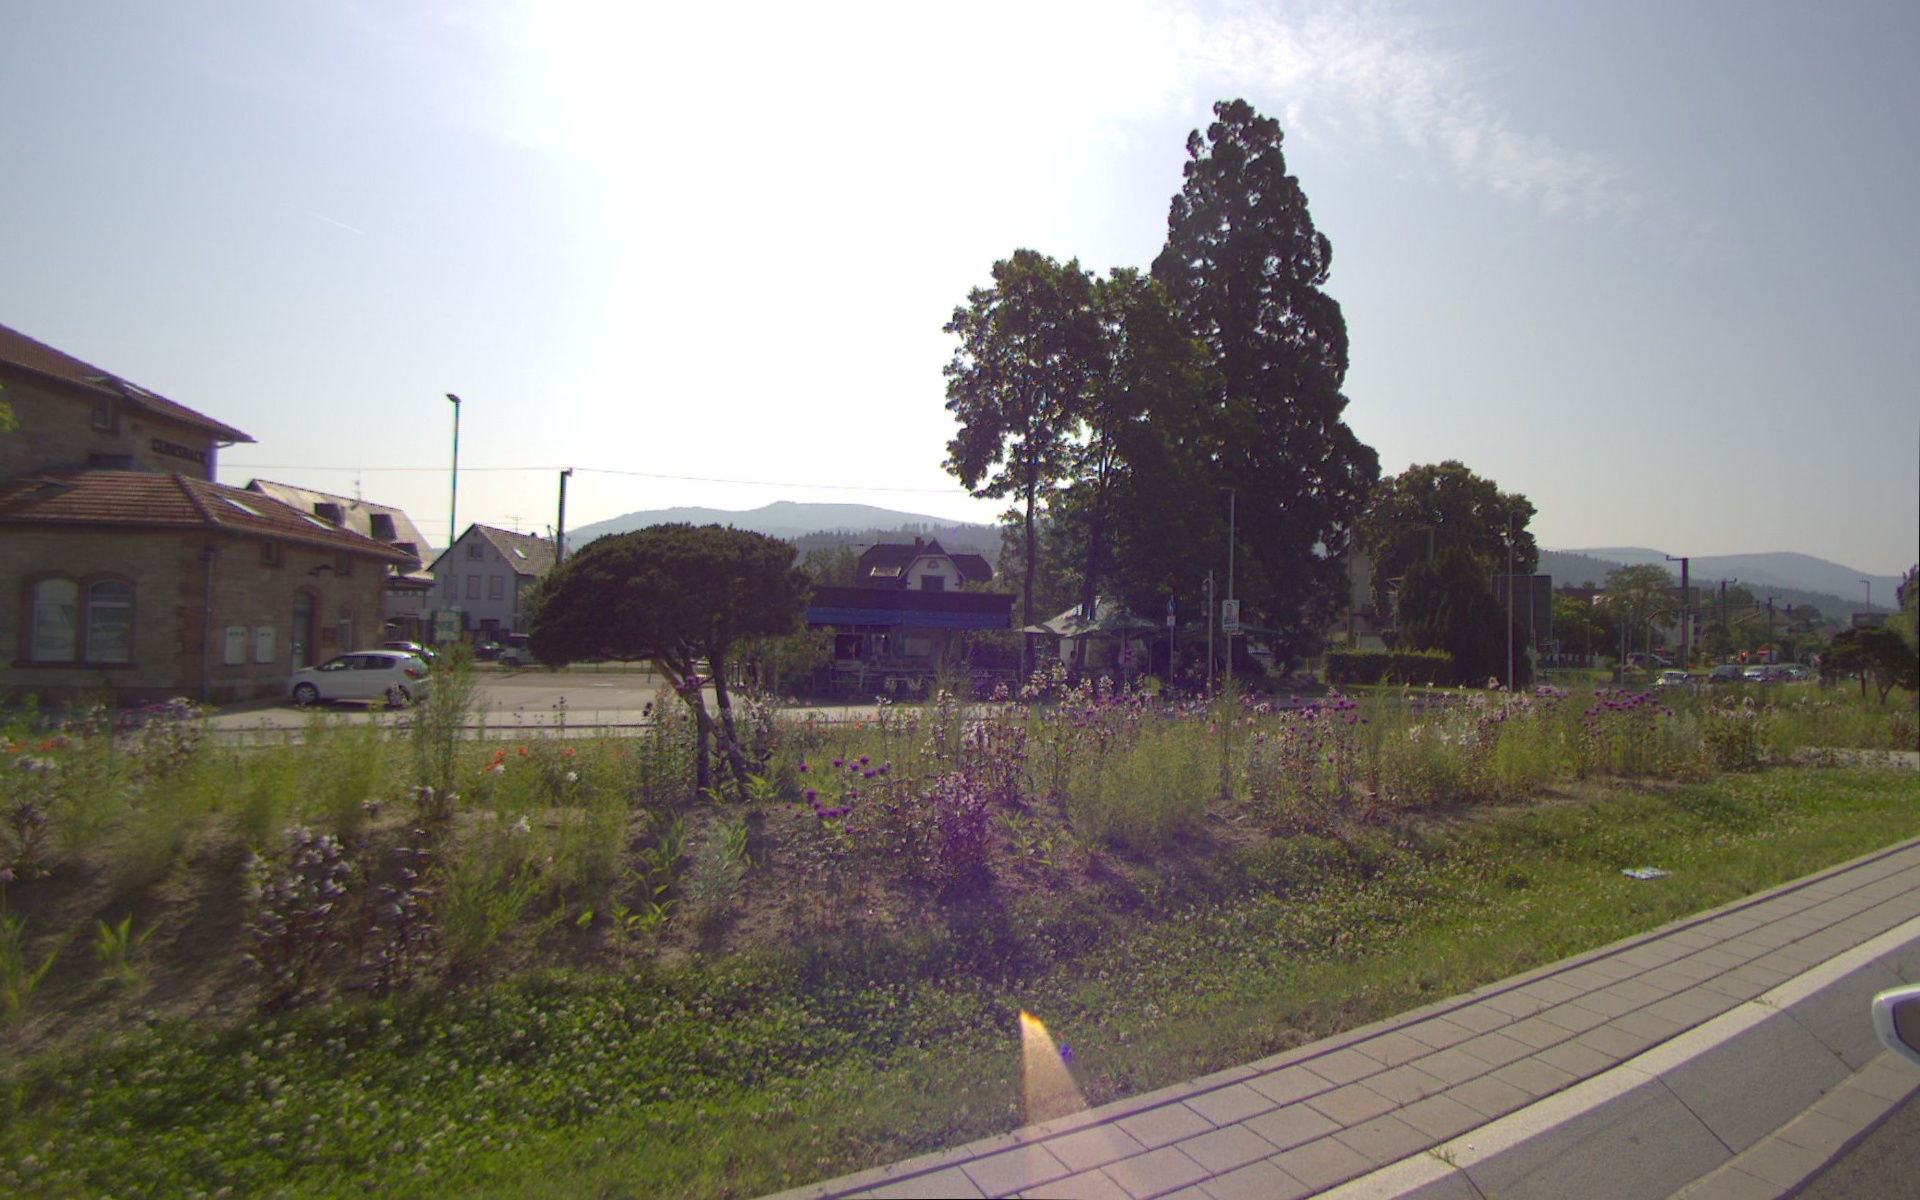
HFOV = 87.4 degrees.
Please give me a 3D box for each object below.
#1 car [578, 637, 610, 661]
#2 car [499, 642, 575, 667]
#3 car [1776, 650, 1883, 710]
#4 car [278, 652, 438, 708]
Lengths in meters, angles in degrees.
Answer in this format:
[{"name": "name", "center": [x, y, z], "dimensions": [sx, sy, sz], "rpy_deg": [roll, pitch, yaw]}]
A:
[{"name": "car", "center": [-25.209, 3.386, 69.233], "dimensions": [1.584, 1.554, 3.574], "rpy_deg": [2, -4, -13]}, {"name": "car", "center": [-25.069, 3.238, 59.649], "dimensions": [3.934, 1.358, 1.607], "rpy_deg": [2, -4, -16]}, {"name": "car", "center": [31.596, 2.853, 36.495], "dimensions": [3.955, 2.040, 1.800], "rpy_deg": [2, -3, -32]}, {"name": "car", "center": [-16.590, 2.207, 27.811], "dimensions": [3.473, 1.468, 1.391], "rpy_deg": [1, -2, -9]}]
